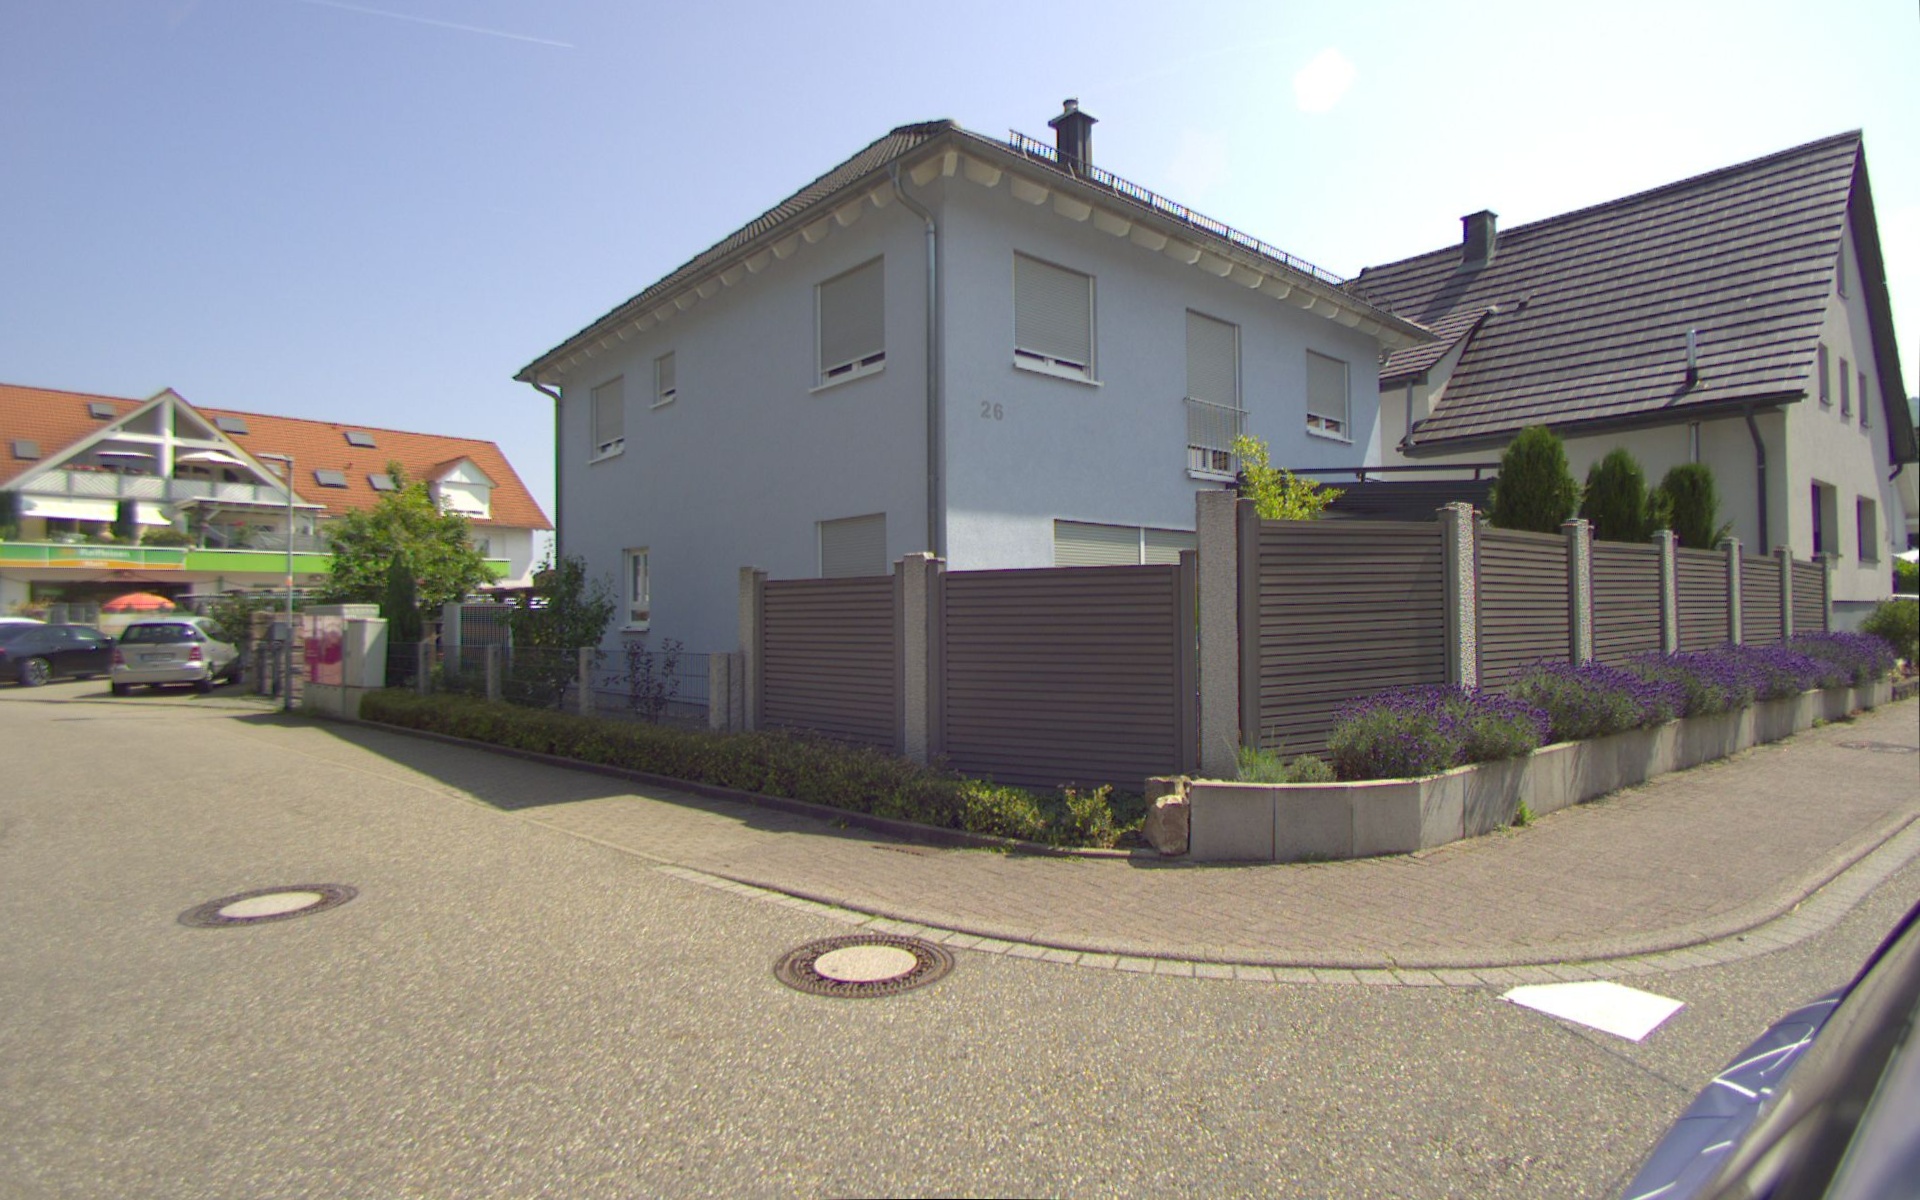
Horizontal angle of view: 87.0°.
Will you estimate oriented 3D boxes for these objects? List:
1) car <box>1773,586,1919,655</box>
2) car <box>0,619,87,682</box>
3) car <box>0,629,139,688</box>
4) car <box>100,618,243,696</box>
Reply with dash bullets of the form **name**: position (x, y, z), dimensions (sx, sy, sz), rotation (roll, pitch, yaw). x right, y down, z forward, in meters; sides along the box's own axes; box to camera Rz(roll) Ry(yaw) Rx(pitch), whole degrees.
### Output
- **car**: position (20.979, 0.450, 23.014), dimensions (1.735, 1.493, 3.663), rotation (1, 0, -41)
- **car**: position (-25.783, 1.325, 26.940), dimensions (1.671, 1.620, 3.999), rotation (0, -1, 0)
- **car**: position (-22.944, 1.407, 25.203), dimensions (1.672, 1.323, 3.997), rotation (0, -1, 2)
- **car**: position (-17.174, 1.172, 22.237), dimensions (1.668, 1.521, 4.102), rotation (0, -1, -26)
